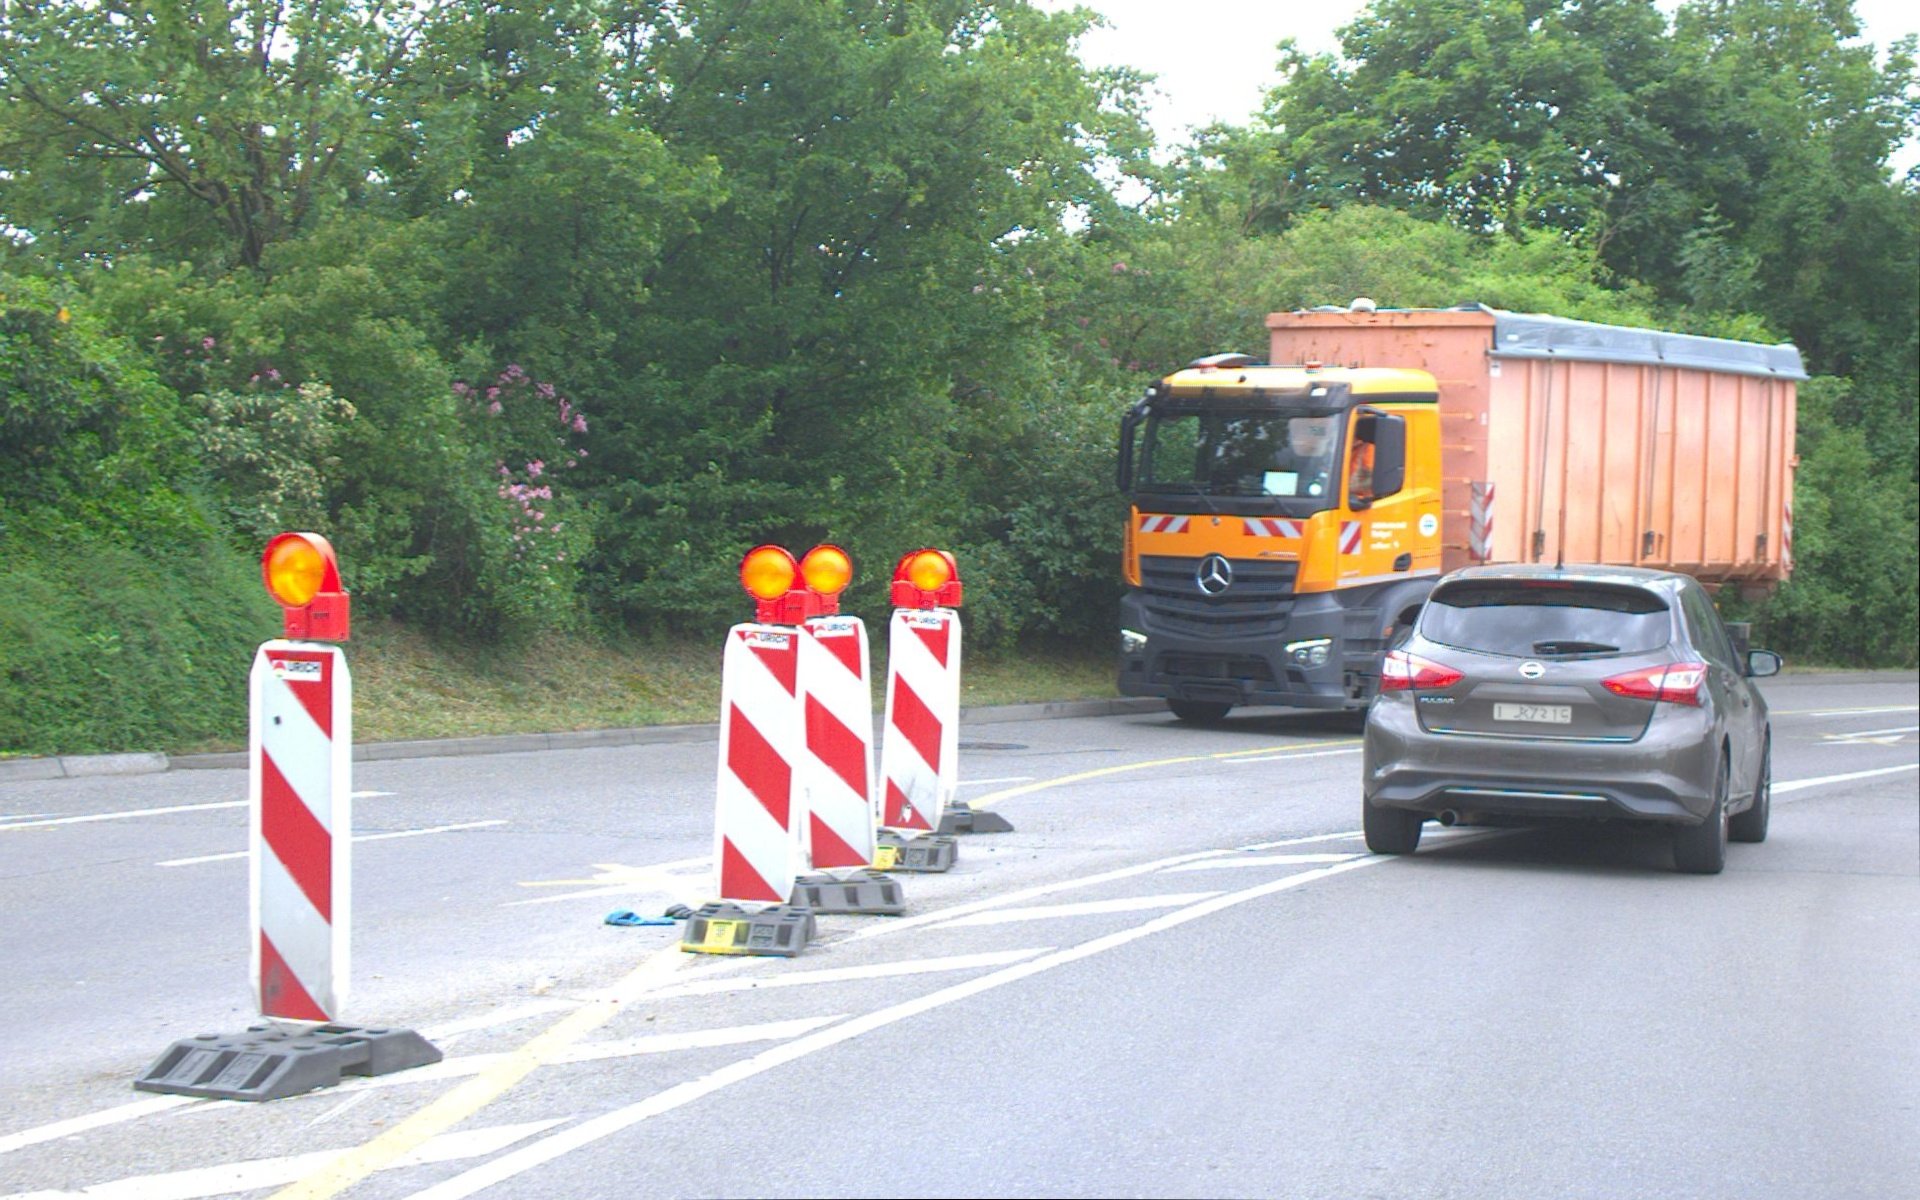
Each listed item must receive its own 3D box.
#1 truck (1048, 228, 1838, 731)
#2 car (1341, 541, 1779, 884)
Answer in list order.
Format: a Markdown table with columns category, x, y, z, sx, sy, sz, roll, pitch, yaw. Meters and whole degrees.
| category | x | y | z | sx | sy | sz | roll | pitch | yaw |
| --- | --- | --- | --- | --- | --- | --- | --- | --- | --- |
| truck | 5.046 | -1.071 | 33.585 | 3.117 | 4.206 | 9.771 | 2 | 1 | 38 |
| car | 3.296 | 0.507 | 18.298 | 1.799 | 1.547 | 3.997 | 2 | 1 | 16 |
